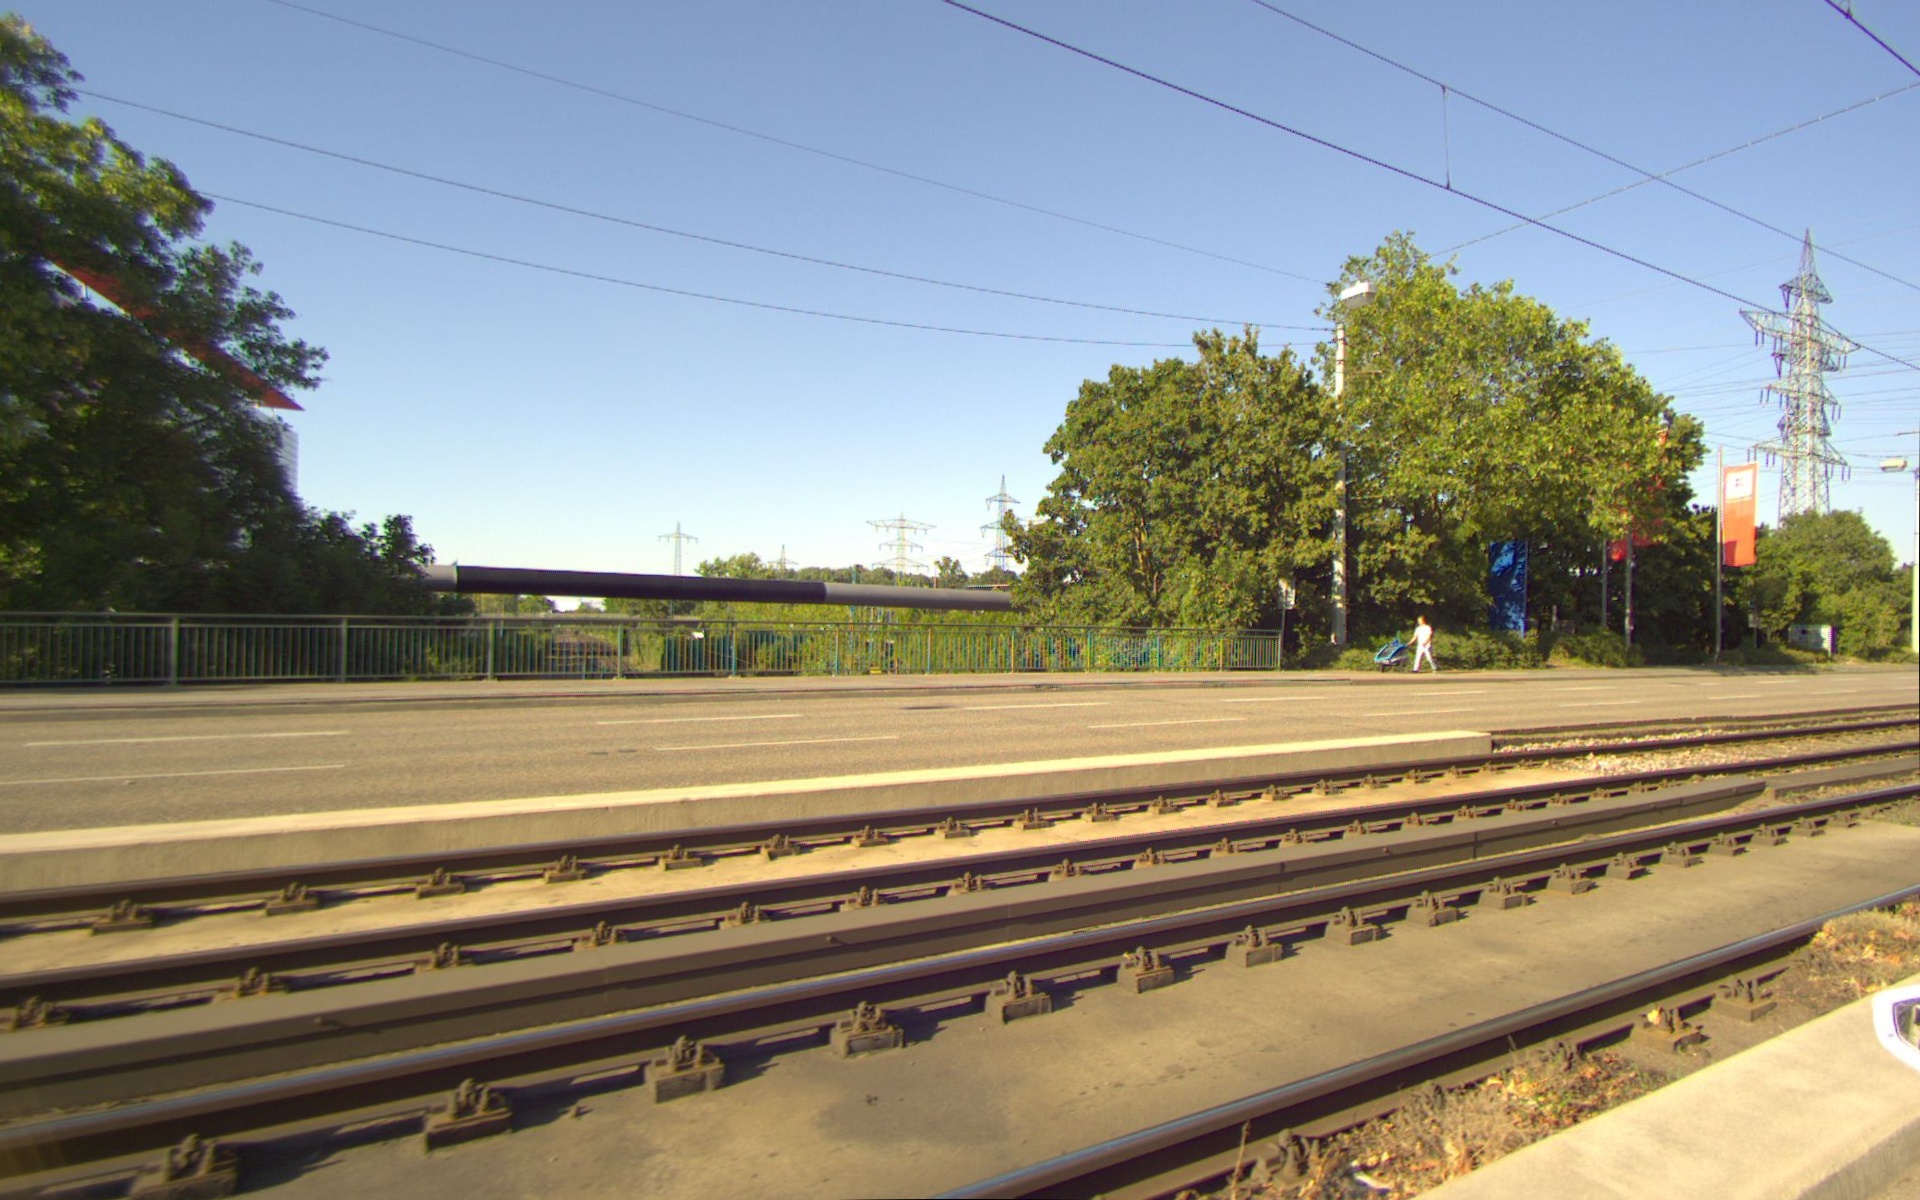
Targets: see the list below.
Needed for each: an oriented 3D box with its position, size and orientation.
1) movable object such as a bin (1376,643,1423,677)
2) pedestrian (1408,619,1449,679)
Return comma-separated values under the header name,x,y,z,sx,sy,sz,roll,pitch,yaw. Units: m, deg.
name,x,y,z,sx,sy,sz,roll,pitch,yaw
movable object such as a bin,13.691,1.859,31.292,1.081,0.974,0.725,3,1,-9
pedestrian,14.652,1.520,31.425,0.820,1.780,0.725,3,1,-9
